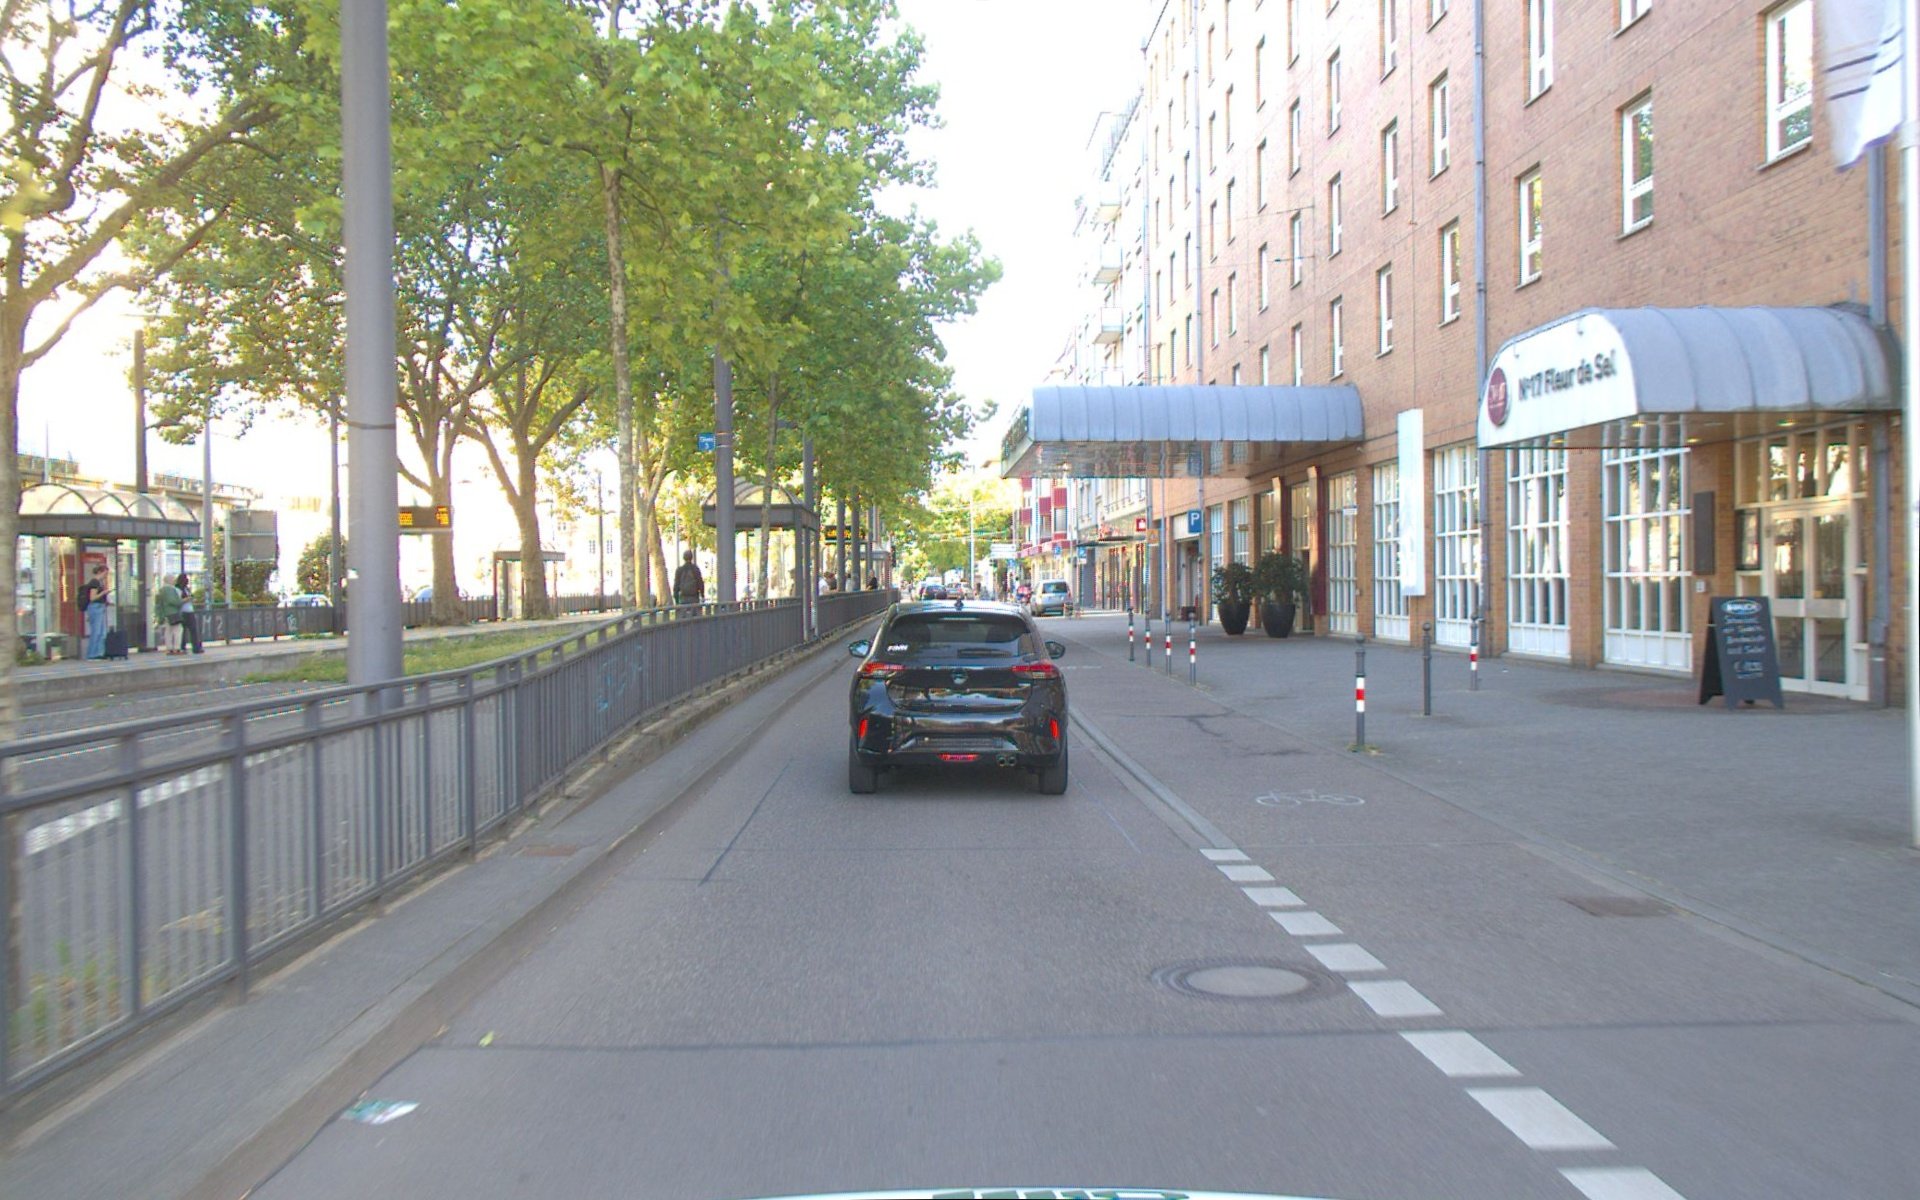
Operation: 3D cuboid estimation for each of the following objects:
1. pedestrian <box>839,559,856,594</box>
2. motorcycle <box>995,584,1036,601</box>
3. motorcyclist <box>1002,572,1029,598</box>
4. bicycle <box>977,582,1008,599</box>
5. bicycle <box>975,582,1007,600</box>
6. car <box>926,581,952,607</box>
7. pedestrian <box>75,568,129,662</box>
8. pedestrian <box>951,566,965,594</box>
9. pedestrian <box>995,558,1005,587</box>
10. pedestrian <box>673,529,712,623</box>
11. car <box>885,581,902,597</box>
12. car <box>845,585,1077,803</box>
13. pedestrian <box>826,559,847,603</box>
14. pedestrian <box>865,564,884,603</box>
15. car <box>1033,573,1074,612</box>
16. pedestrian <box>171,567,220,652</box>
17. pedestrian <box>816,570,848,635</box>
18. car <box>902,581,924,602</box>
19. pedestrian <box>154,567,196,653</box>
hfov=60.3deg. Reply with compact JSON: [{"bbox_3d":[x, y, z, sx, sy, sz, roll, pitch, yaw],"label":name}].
[{"bbox_3d":[-4.613,-0.963,67.873,0.592,1.389,0.486,-3,0,-1],"label":"pedestrian"},{"bbox_3d":[3.637,-0.513,108.932,1.291,1.077,3.066,-1,1,-30],"label":"motorcycle"},{"bbox_3d":[3.643,-0.983,108.923,1.291,1.727,1.224,-1,1,-31],"label":"motorcyclist"},{"bbox_3d":[2.397,-0.704,122.093,2.307,1.255,0.684,-1,1,1],"label":"bicycle"},{"bbox_3d":[2.233,-0.645,120.822,2.307,1.255,0.684,-1,1,1],"label":"bicycle"},{"bbox_3d":[-1.317,-0.391,104.017,1.581,1.528,3.690,-1,1,-2],"label":"car"},{"bbox_3d":[-15.012,0.257,28.937,0.477,1.600,0.668,1,3,42],"label":"pedestrian"},{"bbox_3d":[-0.210,-2.079,174.303,1.137,2.921,0.909,-2,0,-34],"label":"pedestrian"},{"bbox_3d":[4.049,-2.767,166.607,0.898,2.921,1.150,-1,1,-2],"label":"pedestrian"},{"bbox_3d":[-4.996,-0.449,30.921,0.592,1.709,0.486,-3,0,-1],"label":"pedestrian"},{"bbox_3d":[-6.618,-1.084,164.849,1.581,1.528,3.690,-1,1,-2],"label":"car"},{"bbox_3d":[0.092,0.661,13.687,1.637,1.528,3.692,1,0,3],"label":"car"},{"bbox_3d":[-3.978,-0.621,53.360,0.592,1.389,0.486,-3,0,-1],"label":"pedestrian"},{"bbox_3d":[-3.270,-0.644,63.212,0.708,1.470,0.626,-1,1,-5],"label":"pedestrian"},{"bbox_3d":[4.218,-0.351,74.947,1.638,1.681,3.691,-1,1,0],"label":"car"},{"bbox_3d":[-14.777,0.174,31.983,0.551,1.600,0.640,0,2,11],"label":"pedestrian"},{"bbox_3d":[-2.950,0.059,38.088,0.708,1.470,0.626,-1,1,-5],"label":"pedestrian"},{"bbox_3d":[-3.500,-0.643,122.880,1.581,1.528,3.690,-1,1,-2],"label":"car"},{"bbox_3d":[-14.899,0.190,31.396,0.490,1.600,0.494,-1,2,3],"label":"pedestrian"}]
